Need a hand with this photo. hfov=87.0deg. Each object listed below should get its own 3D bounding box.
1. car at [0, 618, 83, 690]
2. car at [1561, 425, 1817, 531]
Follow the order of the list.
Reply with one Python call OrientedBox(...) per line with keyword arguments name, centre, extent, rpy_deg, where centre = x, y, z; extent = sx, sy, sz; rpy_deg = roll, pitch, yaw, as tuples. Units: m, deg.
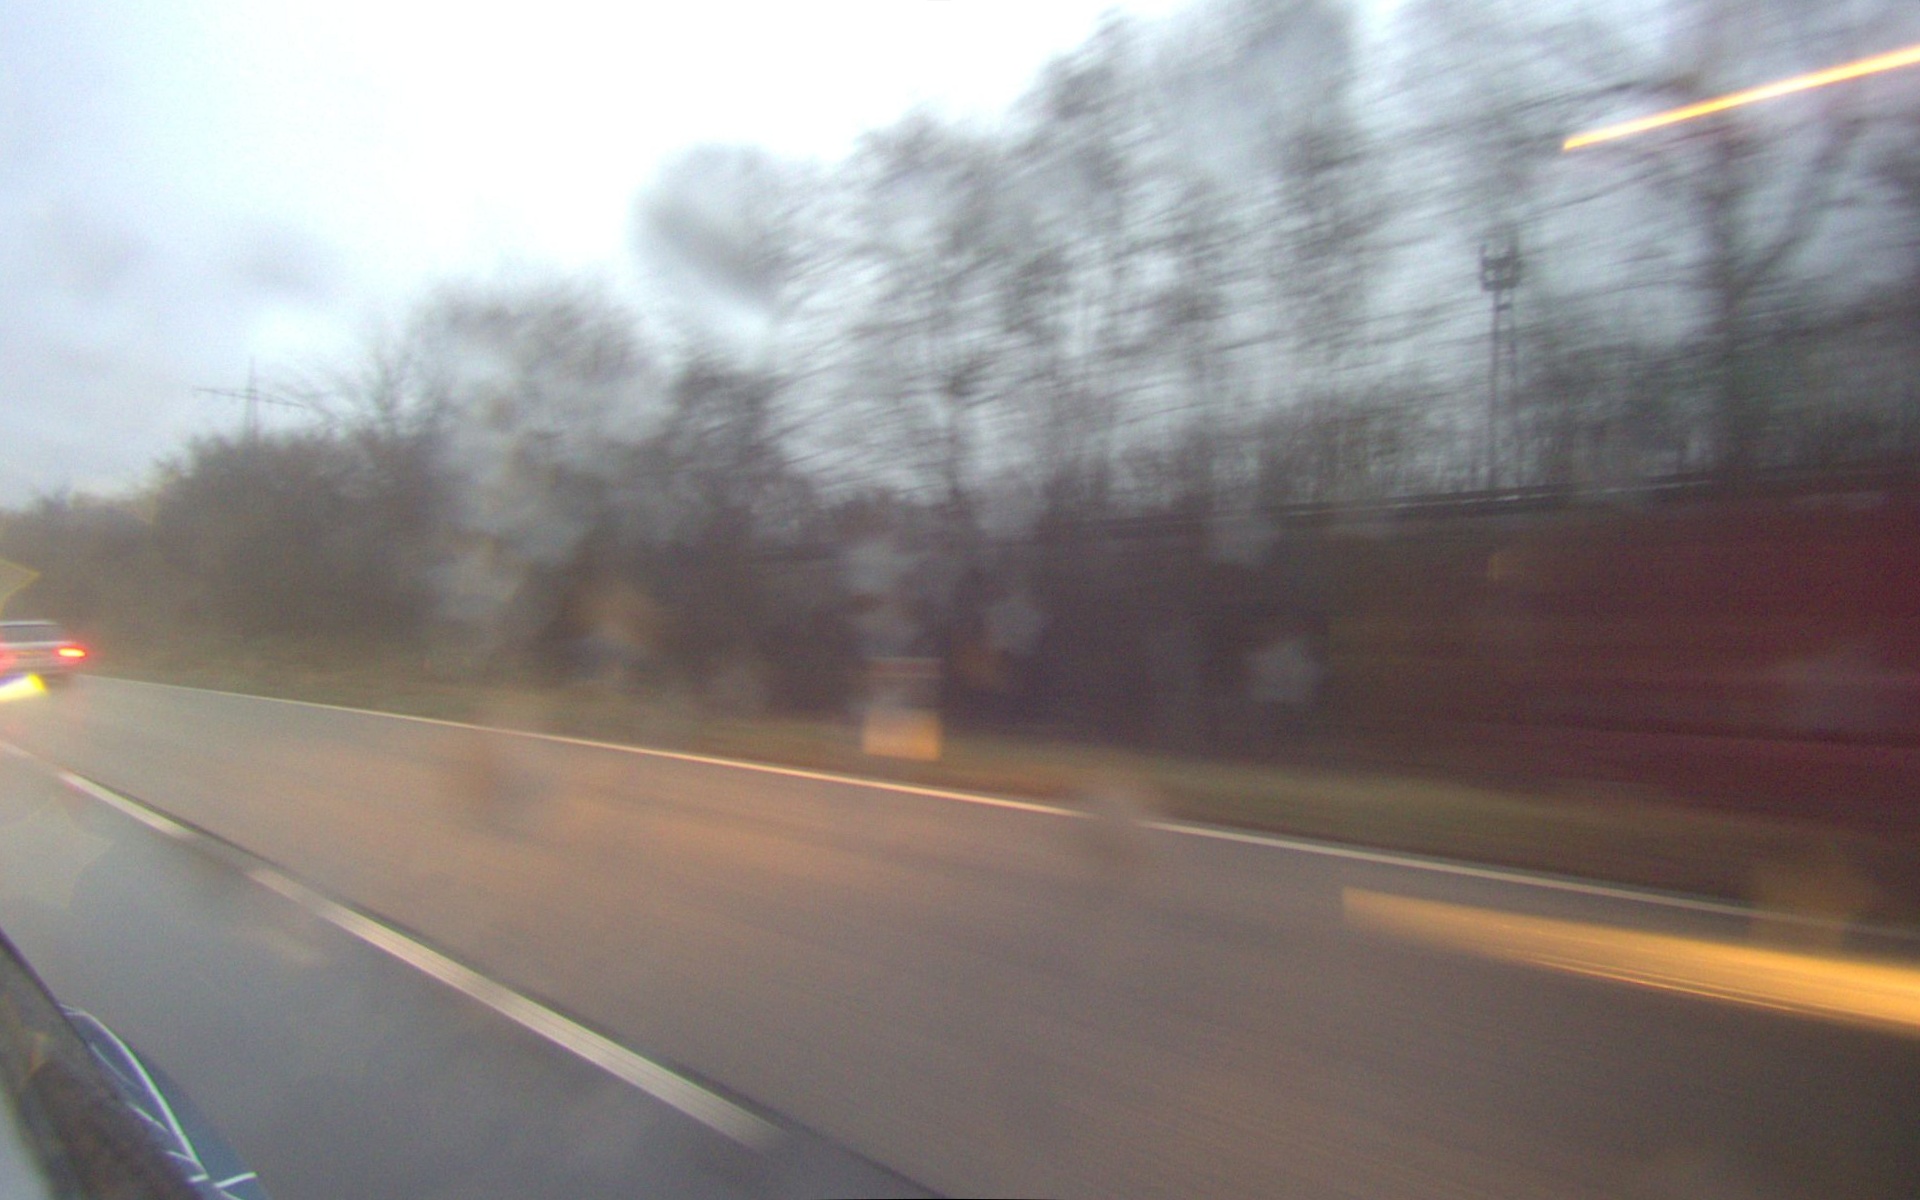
OrientedBox(name="car", centre=(-21.574, 1.188, 22.895), extent=(4.239, 1.471, 1.828), rpy_deg=(-1, 0, 38))
OrientedBox(name="car", centre=(14.295, -2.298, 19.961), extent=(3.940, 1.646, 1.767), rpy_deg=(-1, 2, 40))
